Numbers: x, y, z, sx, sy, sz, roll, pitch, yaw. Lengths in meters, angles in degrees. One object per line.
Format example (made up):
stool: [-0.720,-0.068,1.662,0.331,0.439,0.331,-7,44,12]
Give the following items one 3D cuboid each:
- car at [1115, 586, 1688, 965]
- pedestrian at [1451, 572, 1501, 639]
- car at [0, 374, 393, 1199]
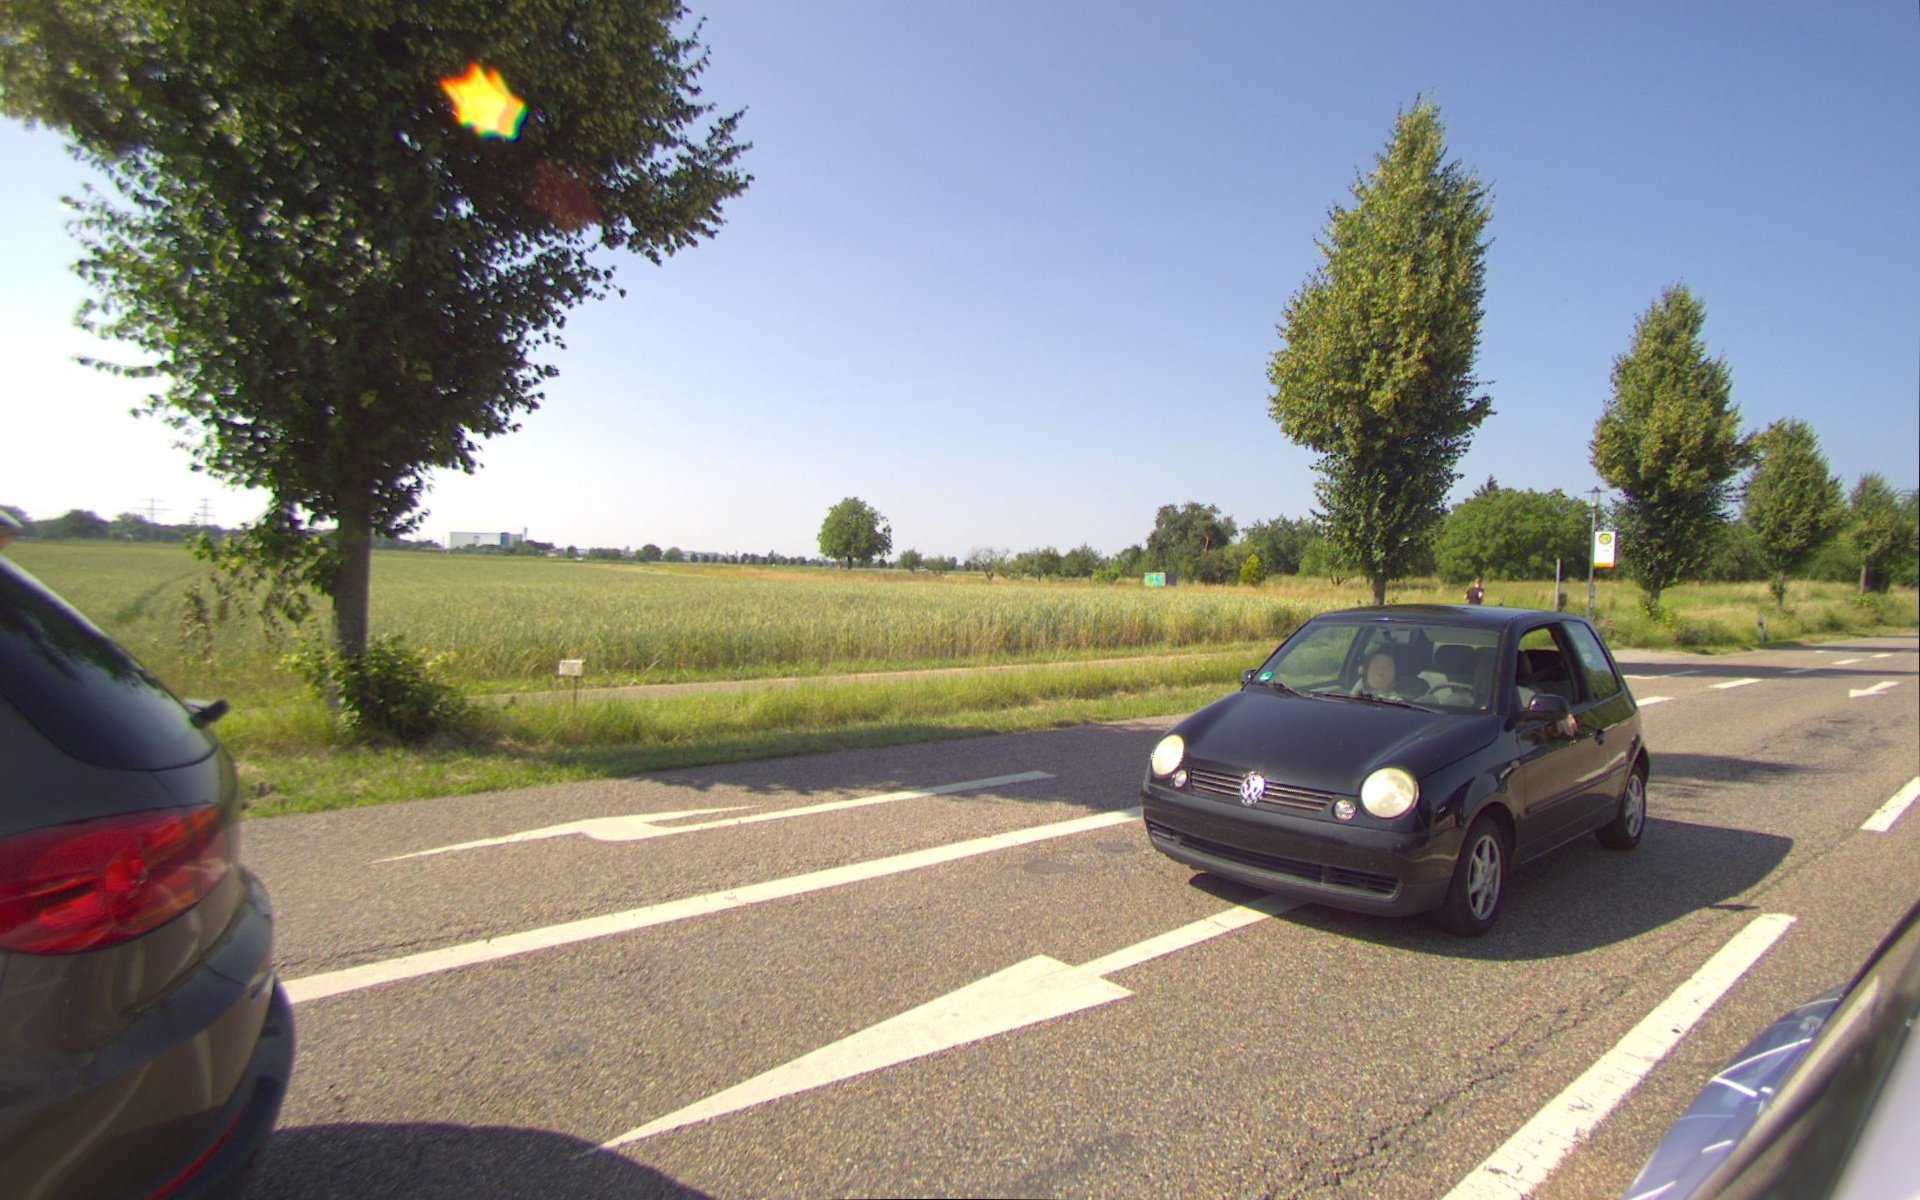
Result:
car: [2.645,0.665,5.690,3.560,1.451,1.628,0,0,-42]
pedestrian: [14.838,0.153,29.107,1.174,1.862,0.903,0,1,-43]
car: [-2.997,0.546,0.917,4.074,1.676,1.758,0,0,-42]
